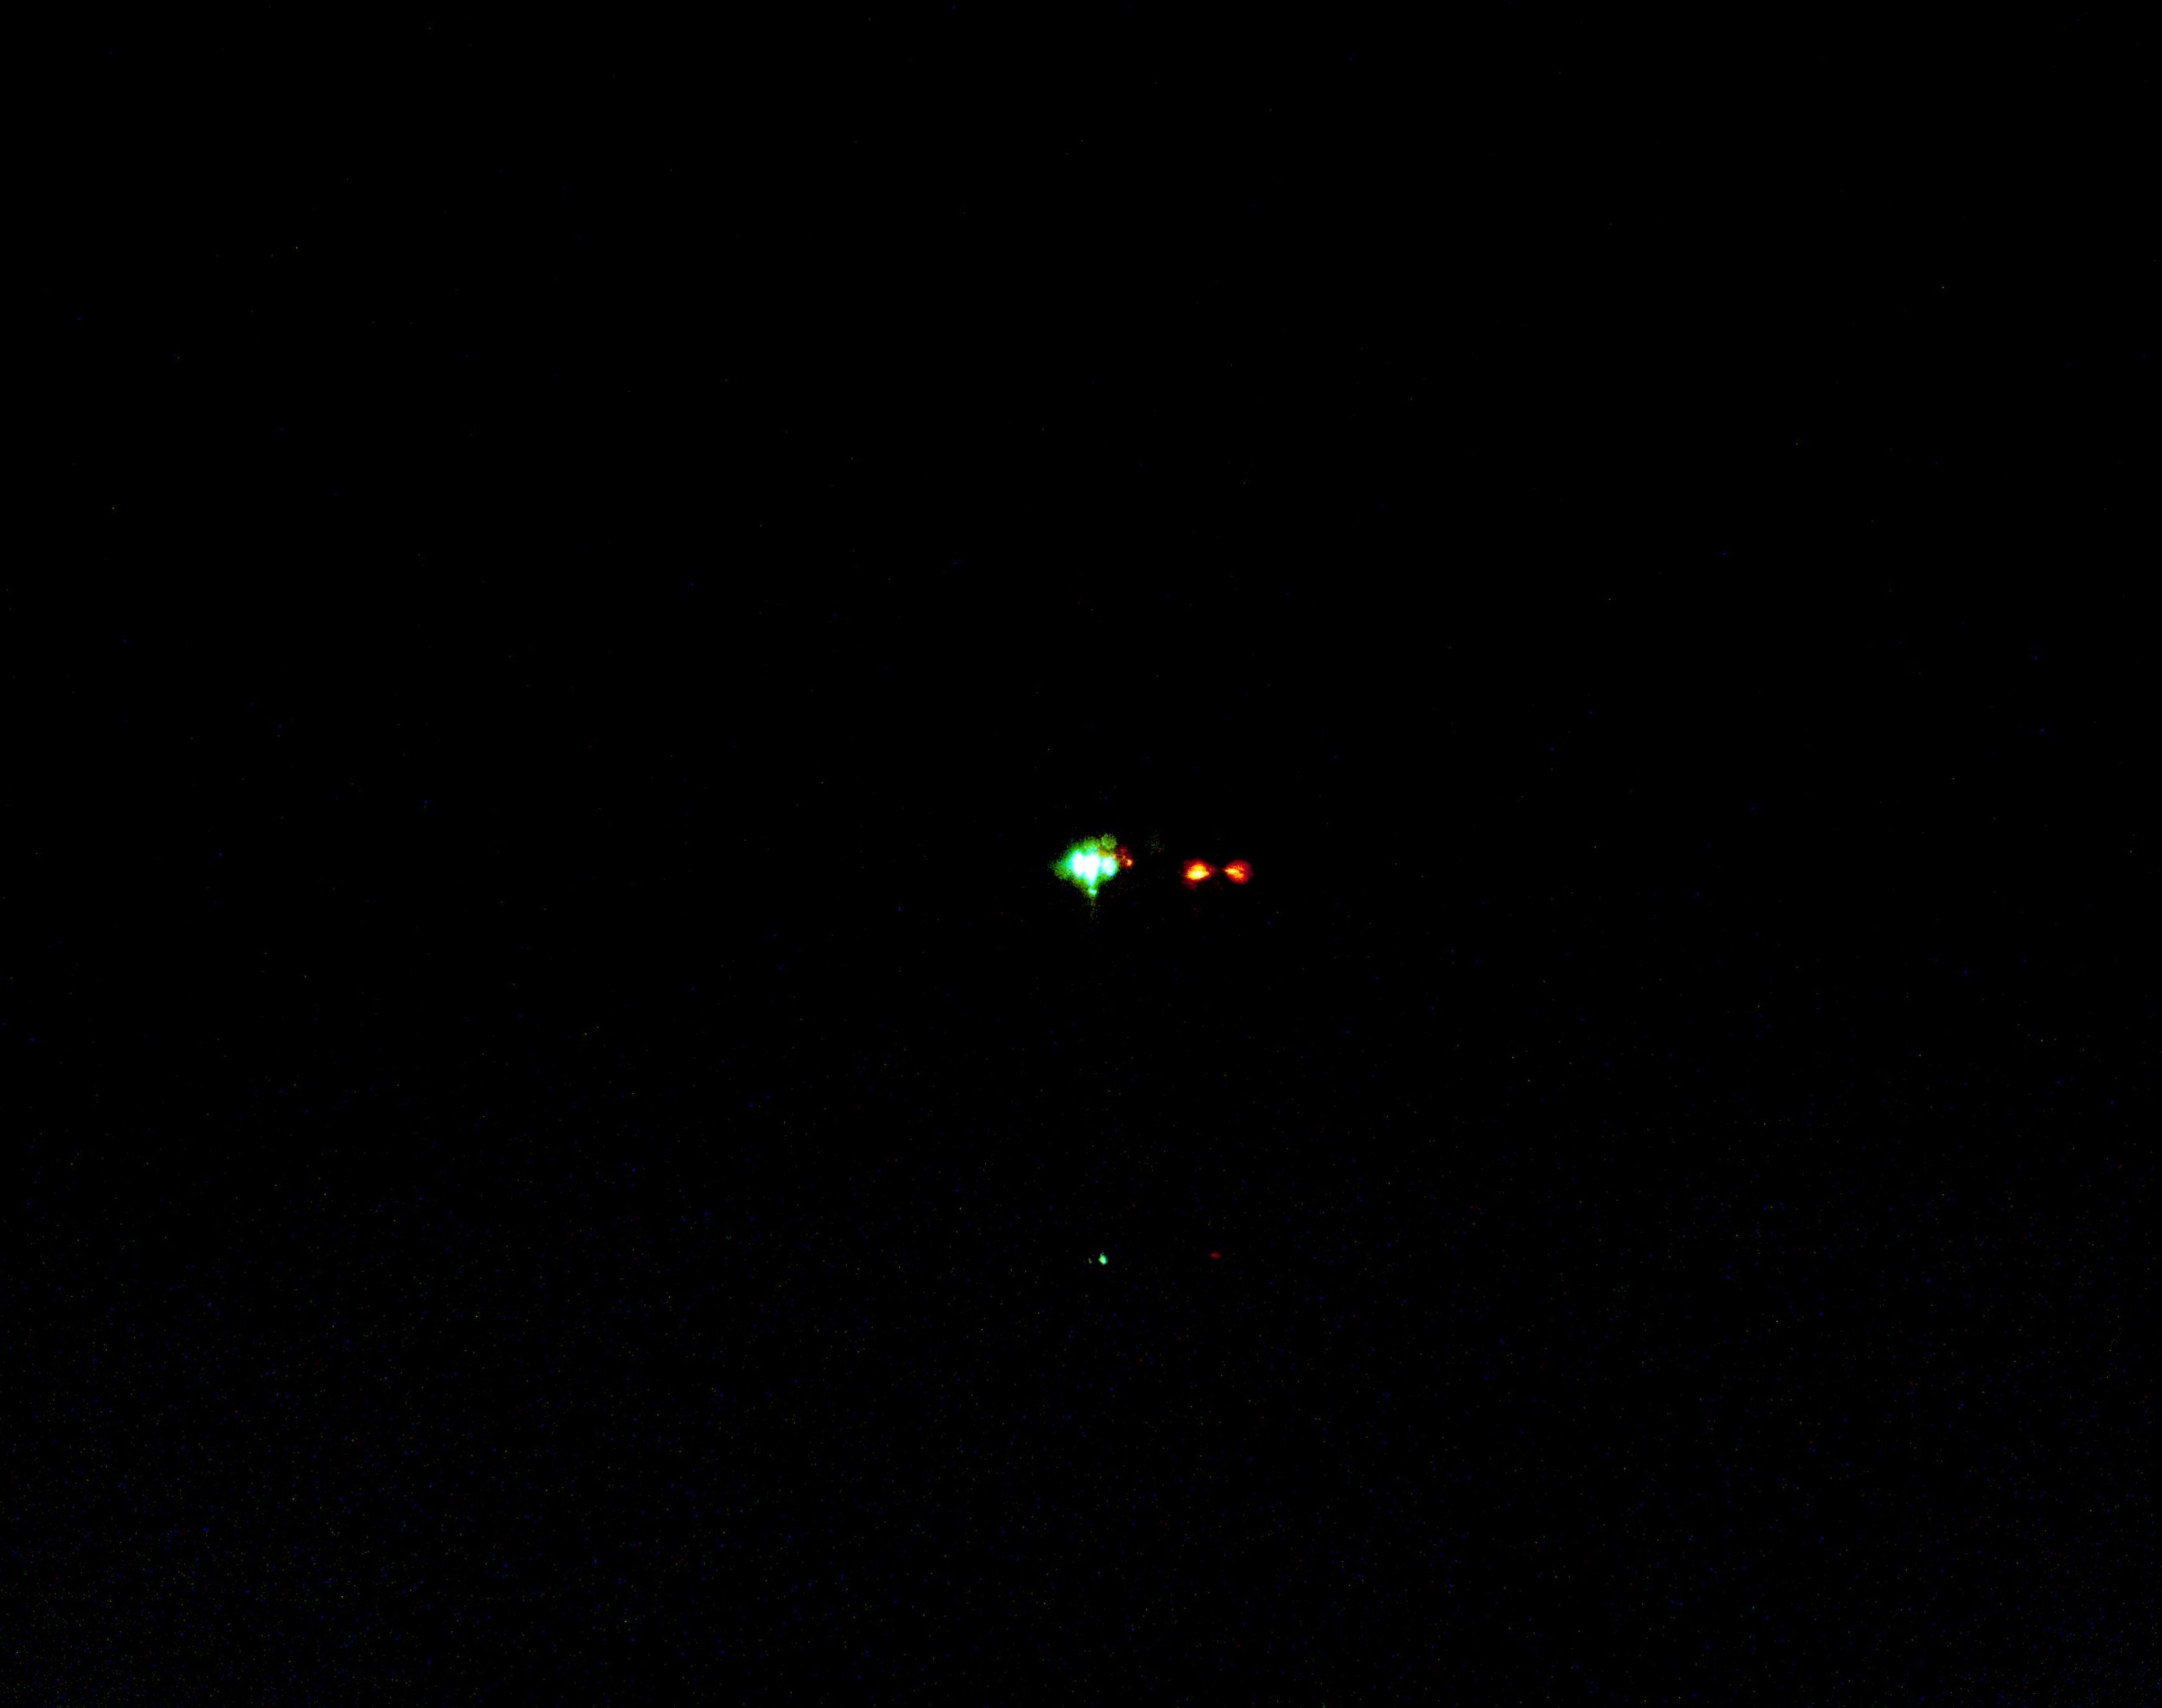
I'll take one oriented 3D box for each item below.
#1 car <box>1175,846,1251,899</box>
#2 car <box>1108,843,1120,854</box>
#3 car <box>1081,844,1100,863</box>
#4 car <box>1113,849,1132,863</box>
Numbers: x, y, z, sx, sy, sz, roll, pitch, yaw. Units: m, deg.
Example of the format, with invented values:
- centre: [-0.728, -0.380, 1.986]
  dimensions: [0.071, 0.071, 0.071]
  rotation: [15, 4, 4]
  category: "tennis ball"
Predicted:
- centre: [4.665, 0.591, 27.340]
  dimensions: [1.998, 1.652, 3.999]
  rotation: [-4, 1, 1]
  category: "car"
- centre: [6.417, -1.041, 147.534]
  dimensions: [1.998, 2.002, 3.999]
  rotation: [-2, 1, 1]
  category: "car"
- centre: [1.046, -0.053, 85.803]
  dimensions: [1.998, 2.002, 3.999]
  rotation: [-2, 1, 1]
  category: "car"
- centre: [4.883, 0.200, 90.213]
  dimensions: [1.998, 1.540, 3.999]
  rotation: [-3, 1, 1]
  category: "car"
